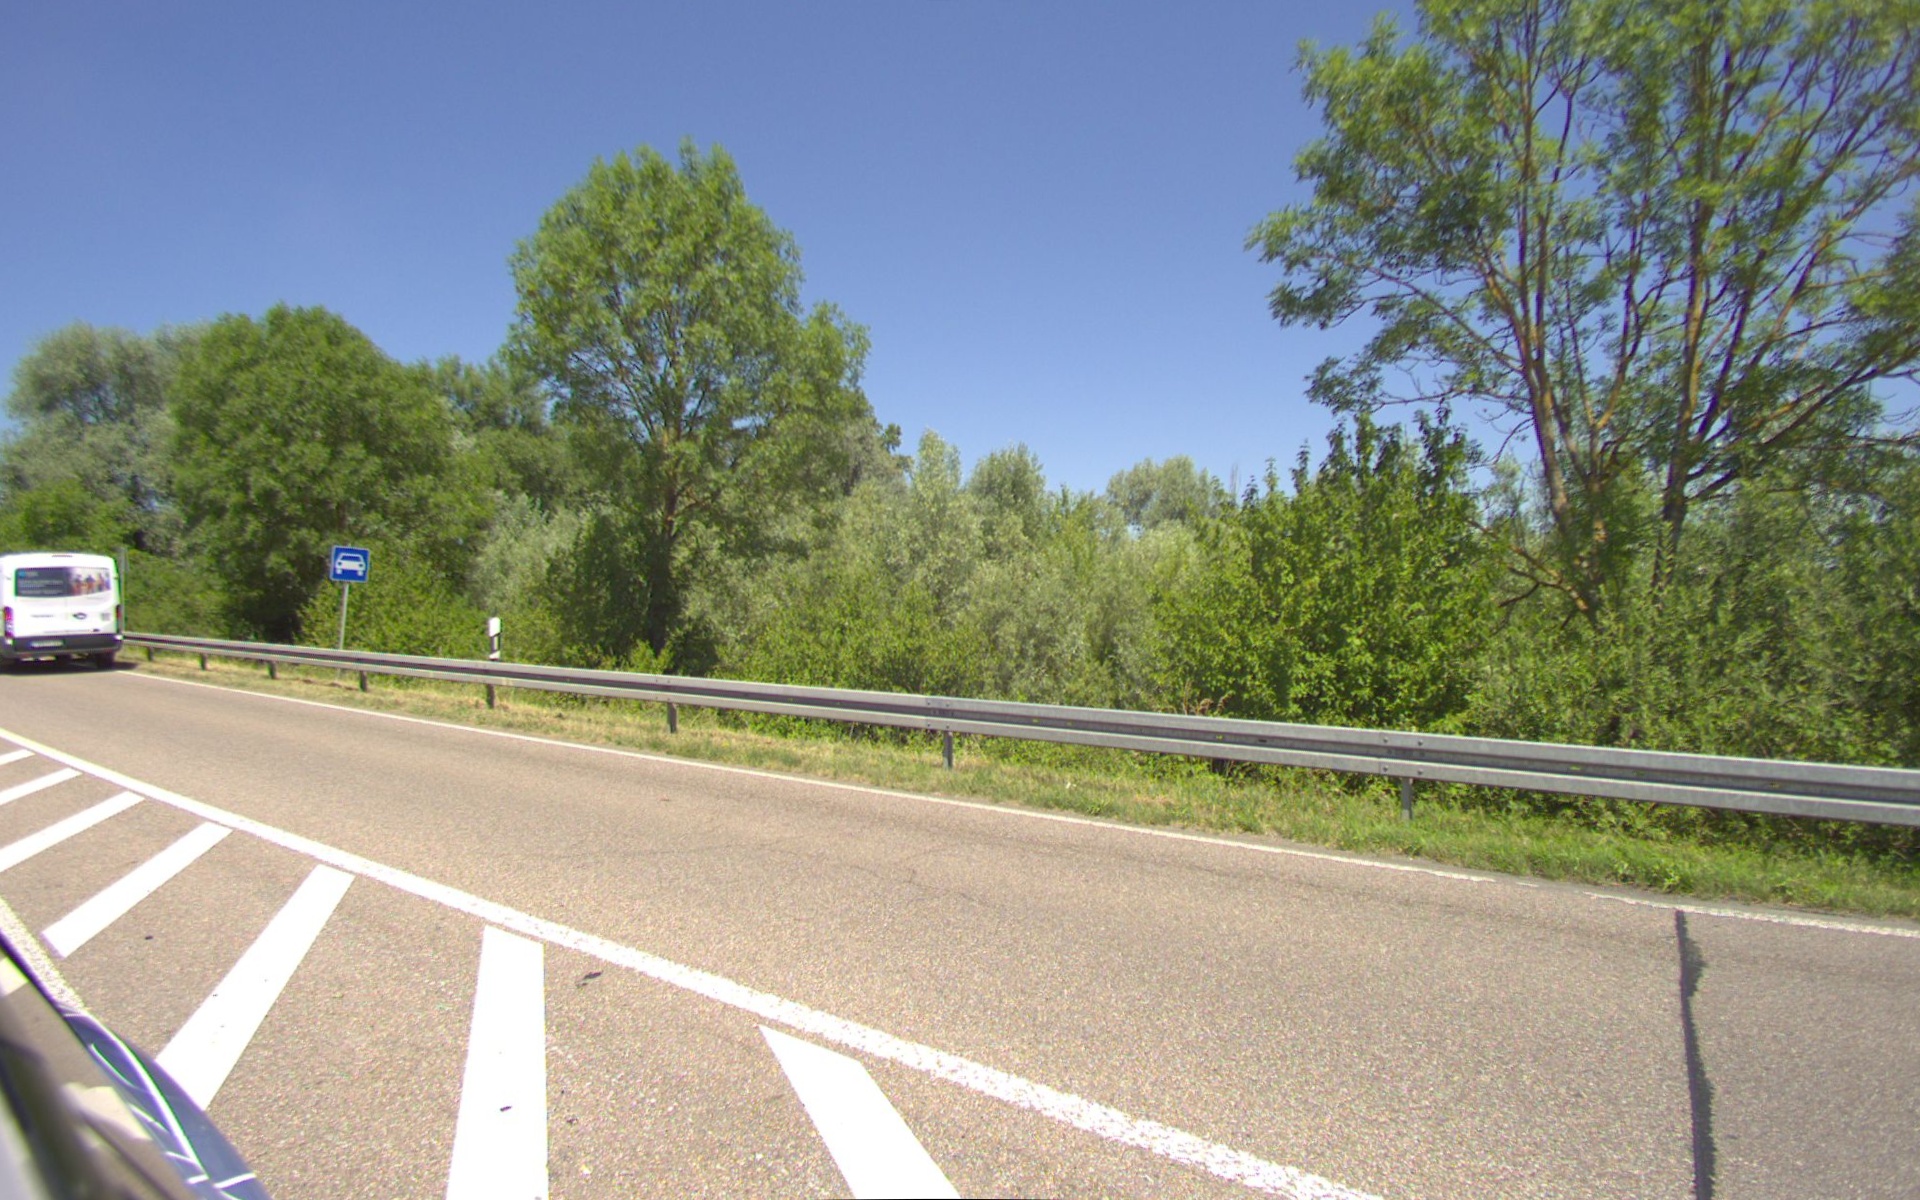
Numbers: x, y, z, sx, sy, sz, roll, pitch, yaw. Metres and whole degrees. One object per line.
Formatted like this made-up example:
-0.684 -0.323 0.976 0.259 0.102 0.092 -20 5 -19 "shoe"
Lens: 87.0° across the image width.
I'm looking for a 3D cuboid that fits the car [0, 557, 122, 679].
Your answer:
-20.892 0.379 22.703 5.581 2.435 1.975 0 -1 37 "car"
